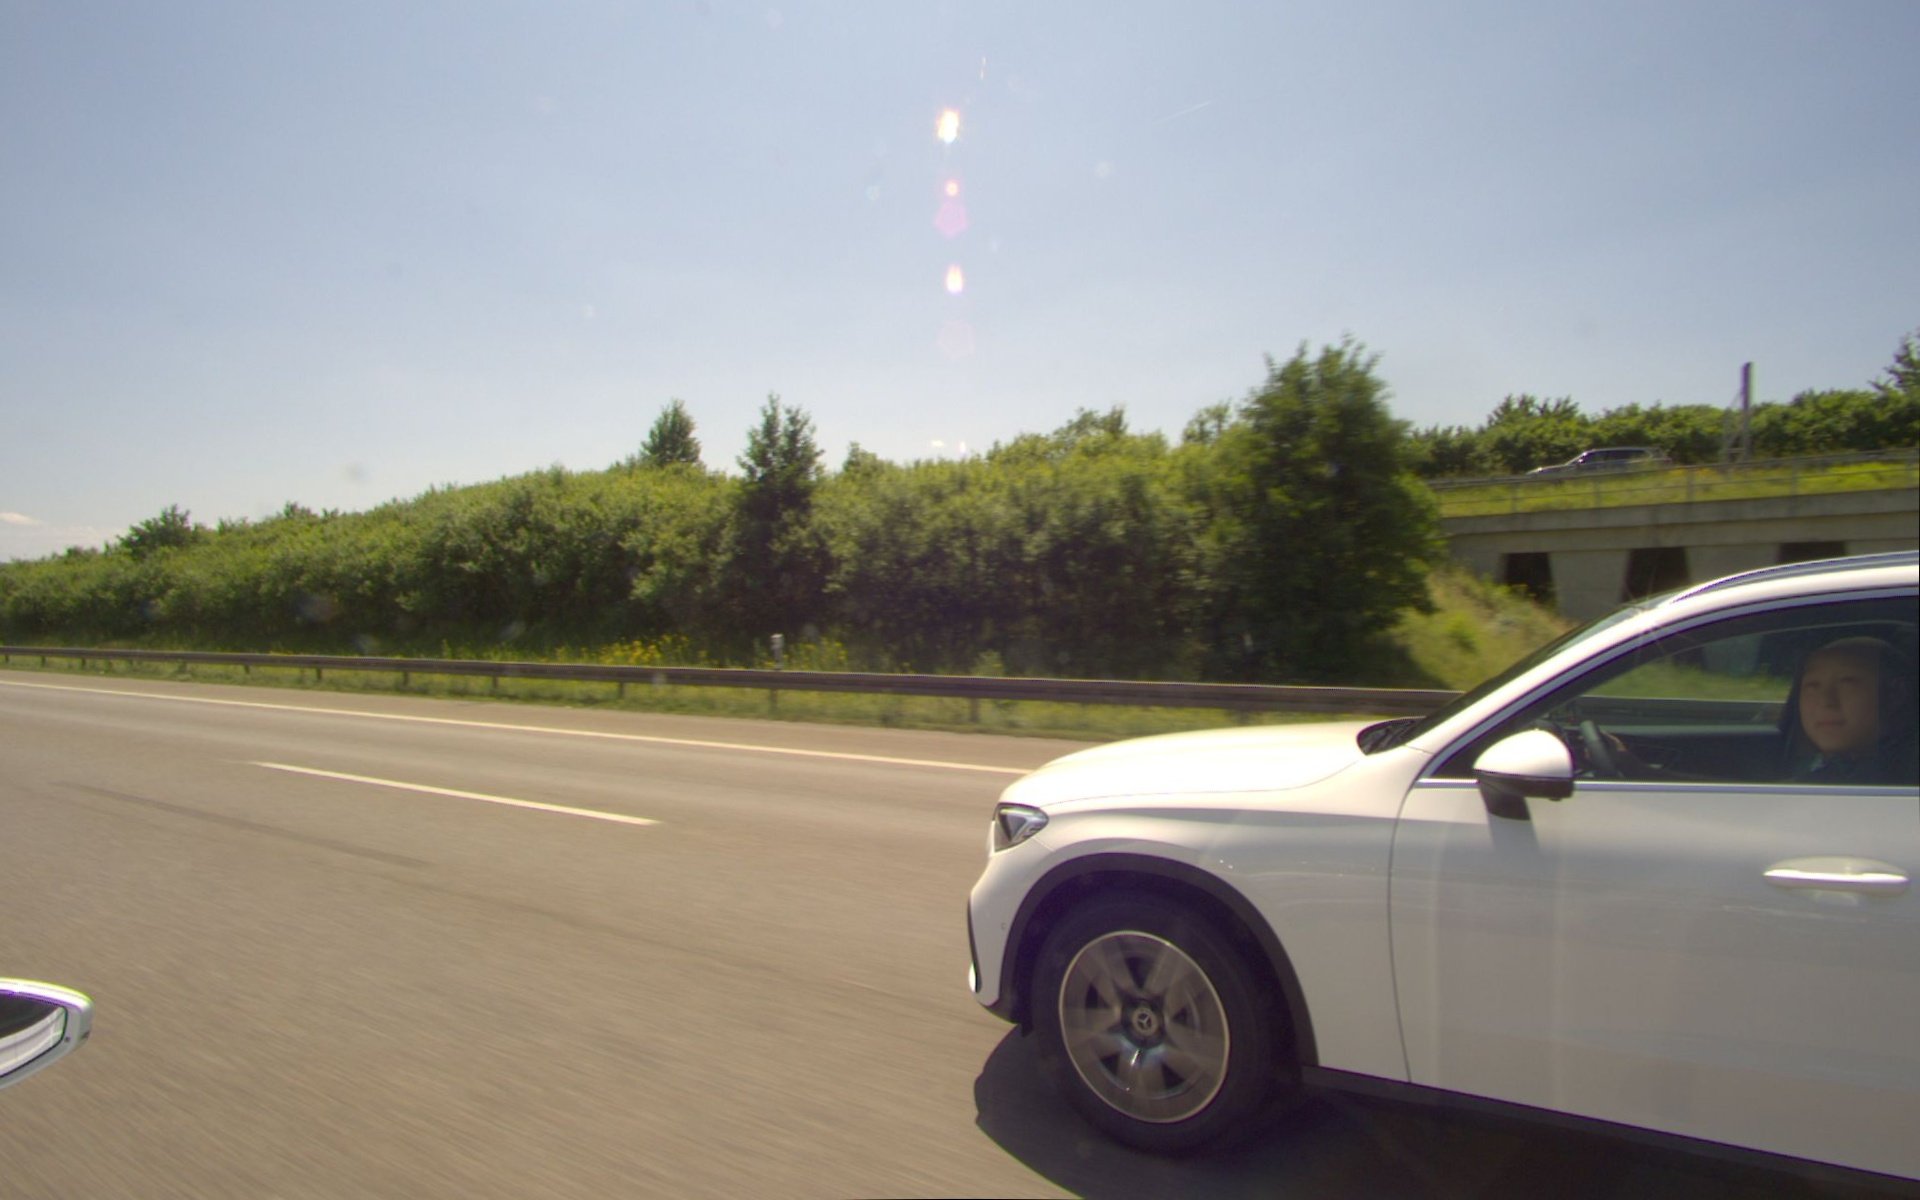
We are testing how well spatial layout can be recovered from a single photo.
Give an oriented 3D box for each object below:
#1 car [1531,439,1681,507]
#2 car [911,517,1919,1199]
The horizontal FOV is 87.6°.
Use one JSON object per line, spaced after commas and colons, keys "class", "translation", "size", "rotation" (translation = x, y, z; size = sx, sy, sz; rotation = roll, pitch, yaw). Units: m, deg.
{"class": "car", "translation": [23.523, -4.588, 36.687], "size": [4.459, 1.830, 1.992], "rotation": [-1, -2, 30]}
{"class": "car", "translation": [2.270, 0.705, 2.709], "size": [4.571, 1.677, 1.901], "rotation": [-1, -2, 33]}
